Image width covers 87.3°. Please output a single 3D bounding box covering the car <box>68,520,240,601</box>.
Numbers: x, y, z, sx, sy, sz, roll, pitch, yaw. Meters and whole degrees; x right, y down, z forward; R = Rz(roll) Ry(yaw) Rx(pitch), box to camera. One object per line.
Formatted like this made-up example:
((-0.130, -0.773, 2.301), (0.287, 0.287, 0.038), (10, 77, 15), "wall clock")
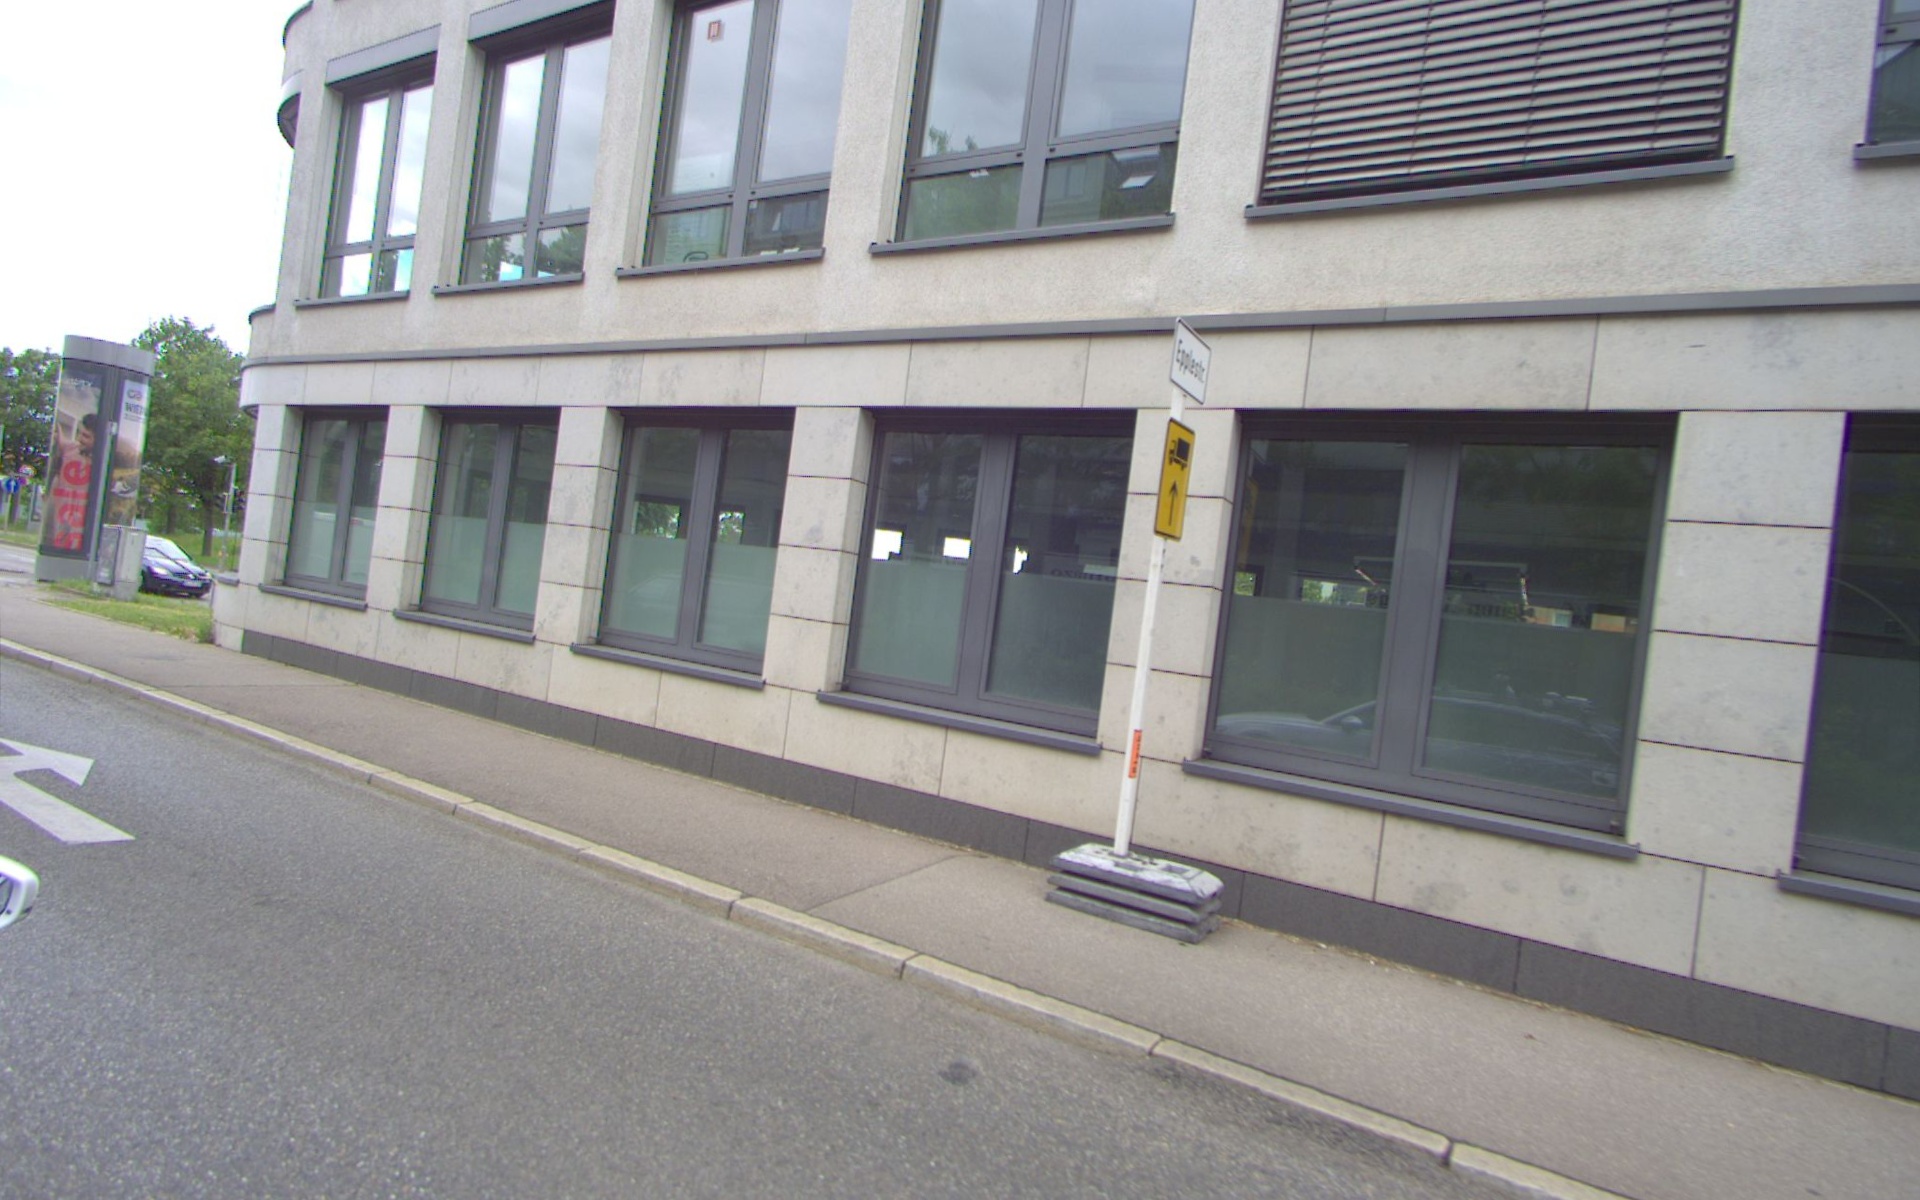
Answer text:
((-22.841, -1.102, 28.558), (3.718, 1.703, 1.706), (7, -2, 12), "car")
